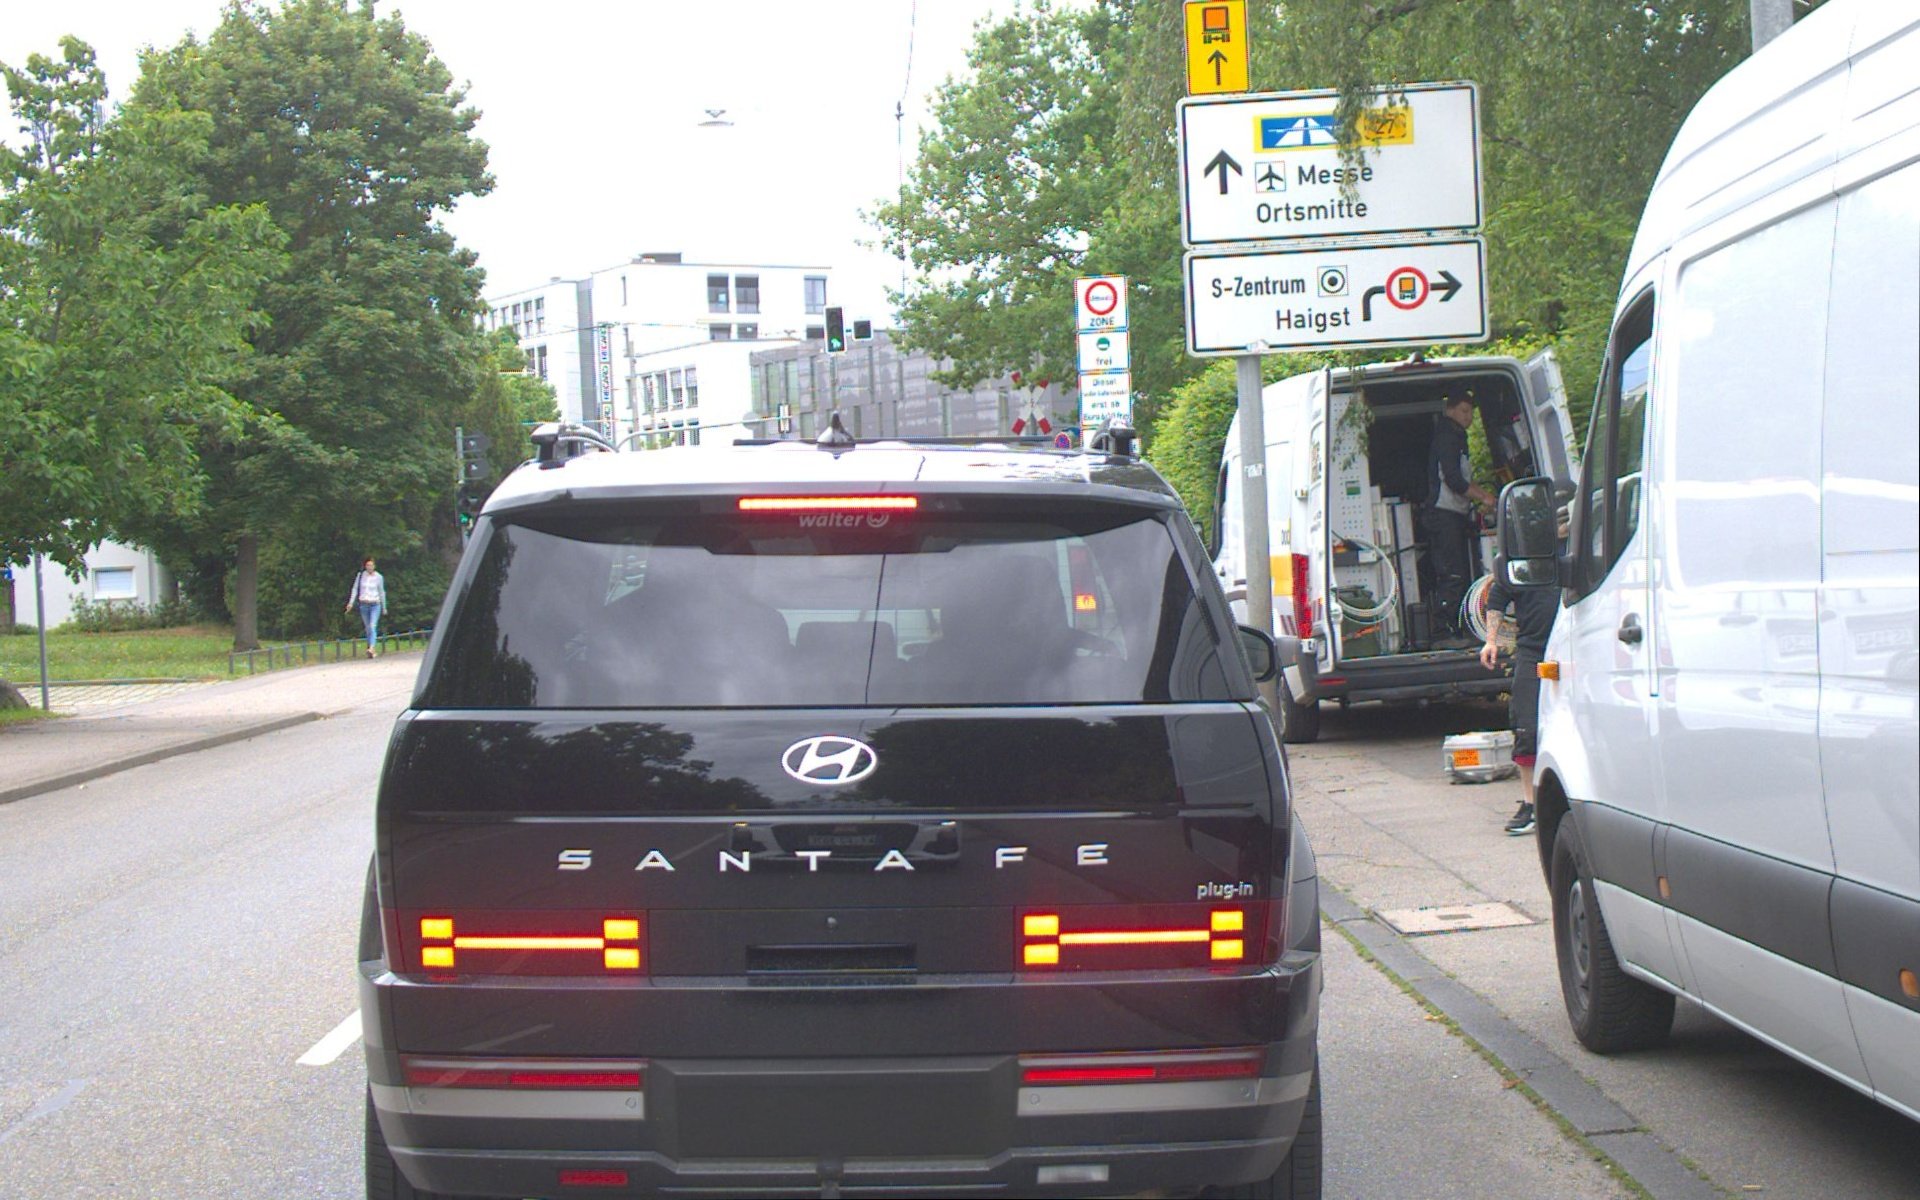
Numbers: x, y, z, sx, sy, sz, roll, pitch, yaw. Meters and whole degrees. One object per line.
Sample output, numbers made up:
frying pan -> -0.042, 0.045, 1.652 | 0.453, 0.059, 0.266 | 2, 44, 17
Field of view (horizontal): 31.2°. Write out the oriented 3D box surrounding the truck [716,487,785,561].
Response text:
truck -> -11.446, -4.079, 187.119 | 3.107, 3.846, 9.623 | -2, 1, -6

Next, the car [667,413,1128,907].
car -> -0.283, 0.230, 16.339 | 1.897, 2.035, 3.994 | 1, 1, -1

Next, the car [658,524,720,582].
car -> -11.381, -1.956, 144.146 | 2.332, 2.307, 4.959 | -2, 1, -6

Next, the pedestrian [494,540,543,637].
pedestrian -> -9.221, -0.244, 71.800 | 0.830, 2.007, 1.047 | 1, 0, 2

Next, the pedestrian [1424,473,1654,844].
pedestrian -> 2.752, 0.268, 16.376 | 0.789, 1.715, 0.753 | 1, 0, -19

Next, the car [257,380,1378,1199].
car -> -0.268, 0.503, 7.876 | 1.897, 1.770, 3.994 | 1, 1, -1

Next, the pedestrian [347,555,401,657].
pedestrian -> -10.096, 0.097, 59.246 | 0.767, 1.742, 0.904 | -1, 0, -1

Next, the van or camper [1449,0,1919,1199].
van or camper -> 2.593, -0.019, 6.996 | 1.991, 2.616, 6.544 | -5, 1, -1

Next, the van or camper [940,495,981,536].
van or camper -> 0.022, -4.216, 172.479 | 1.795, 1.992, 3.824 | 1, 1, -4

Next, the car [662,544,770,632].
car -> -4.534, -0.233, 64.281 | 1.701, 1.478, 4.000 | -4, 1, -1

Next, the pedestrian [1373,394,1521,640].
pedestrian -> 3.388, -0.573, 23.890 | 0.799, 1.638, 0.738 | -3, 0, 20

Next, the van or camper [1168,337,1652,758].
van or camper -> 3.075, -0.332, 25.270 | 2.340, 2.486, 6.603 | -5, 0, -1

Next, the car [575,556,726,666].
car -> -4.455, 0.134, 49.996 | 1.756, 1.398, 4.414 | -4, 1, -1
